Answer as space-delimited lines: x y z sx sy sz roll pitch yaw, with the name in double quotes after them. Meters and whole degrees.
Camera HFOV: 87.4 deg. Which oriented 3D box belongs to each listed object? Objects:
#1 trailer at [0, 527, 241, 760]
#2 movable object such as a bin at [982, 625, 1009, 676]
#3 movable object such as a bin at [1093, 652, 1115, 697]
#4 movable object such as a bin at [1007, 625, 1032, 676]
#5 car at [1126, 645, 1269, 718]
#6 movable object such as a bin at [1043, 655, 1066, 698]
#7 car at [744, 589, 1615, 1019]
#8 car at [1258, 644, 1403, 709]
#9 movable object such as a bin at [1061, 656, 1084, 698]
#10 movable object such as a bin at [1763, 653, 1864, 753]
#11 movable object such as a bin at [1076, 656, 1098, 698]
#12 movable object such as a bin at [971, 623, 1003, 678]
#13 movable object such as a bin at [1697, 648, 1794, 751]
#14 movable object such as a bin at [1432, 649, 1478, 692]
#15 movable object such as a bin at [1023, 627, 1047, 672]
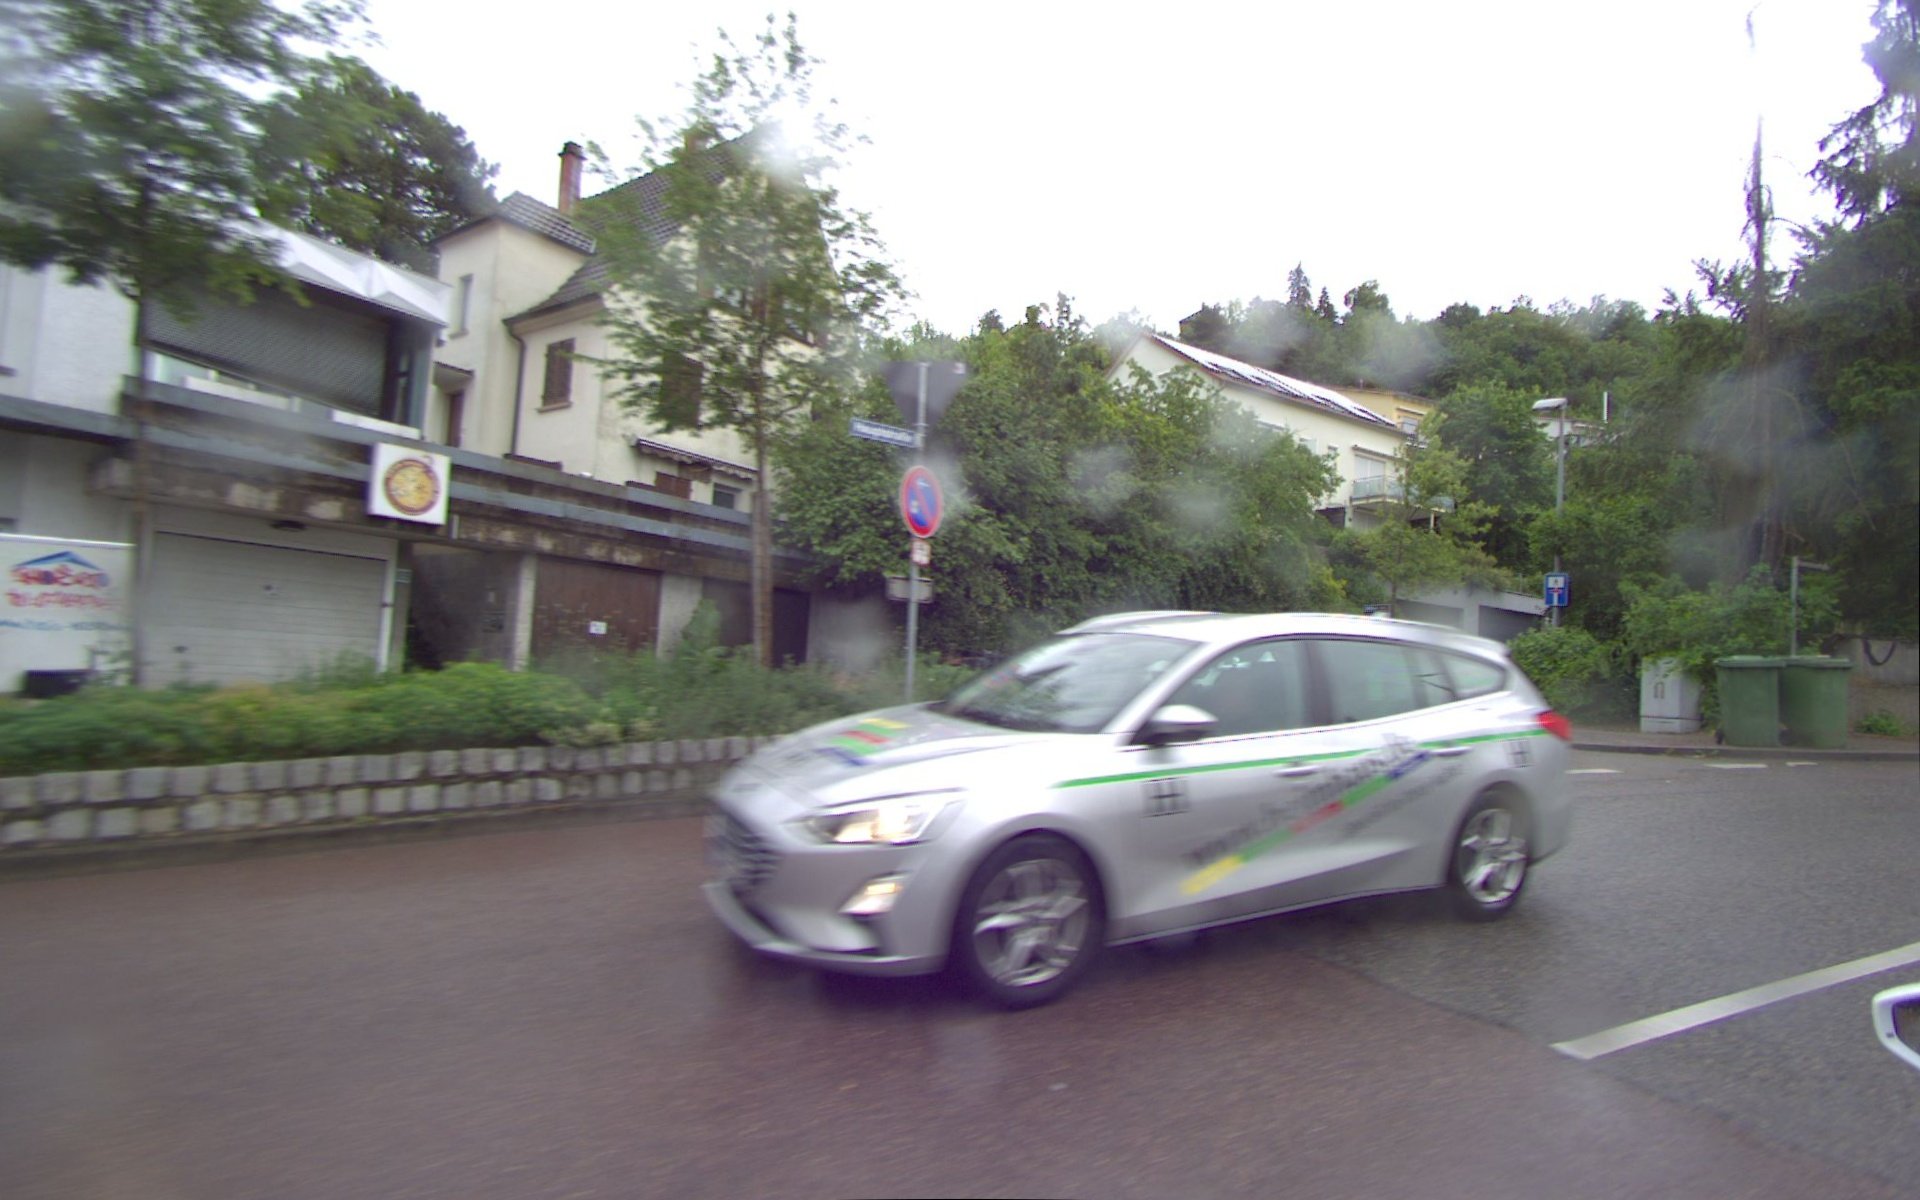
-10.100 0.414 10.628 3.881 2.130 1.955 1 -2 15 "trailer"
0.744 1.053 20.988 0.385 1.059 0.345 3 -1 -40 "movable object such as a bin"
3.330 1.725 23.289 0.368 1.008 0.303 3 -1 -41 "movable object such as a bin"
1.253 1.056 21.207 0.379 1.053 0.298 3 -1 -41 "movable object such as a bin"
5.160 1.671 21.520 1.524 1.348 3.732 2 -1 38 "car"
2.090 1.689 22.178 0.374 0.927 0.298 3 -1 -41 "movable object such as a bin"
1.204 0.748 5.020 4.182 1.432 1.589 2 -1 -27 "car"
9.136 1.826 24.604 4.091 1.378 1.583 3 -1 -42 "car"
2.528 1.730 22.588 0.392 0.927 0.292 3 -1 -41 "movable object such as a bin"
10.091 1.204 11.898 0.692 1.102 0.561 2 0 8 "movable object such as a bin"
2.897 1.749 22.884 0.392 0.927 0.288 3 -1 -41 "movable object such as a bin"
0.556 1.026 20.419 0.496 1.078 0.363 3 -1 -41 "movable object such as a bin"
9.401 1.174 12.043 0.654 1.154 0.626 2 0 8 "movable object such as a bin"
14.717 2.099 29.881 0.923 1.214 0.847 3 -1 -34 "movable object such as a bin"
1.632 1.084 21.834 0.379 0.955 0.318 3 -1 -40 "movable object such as a bin"
